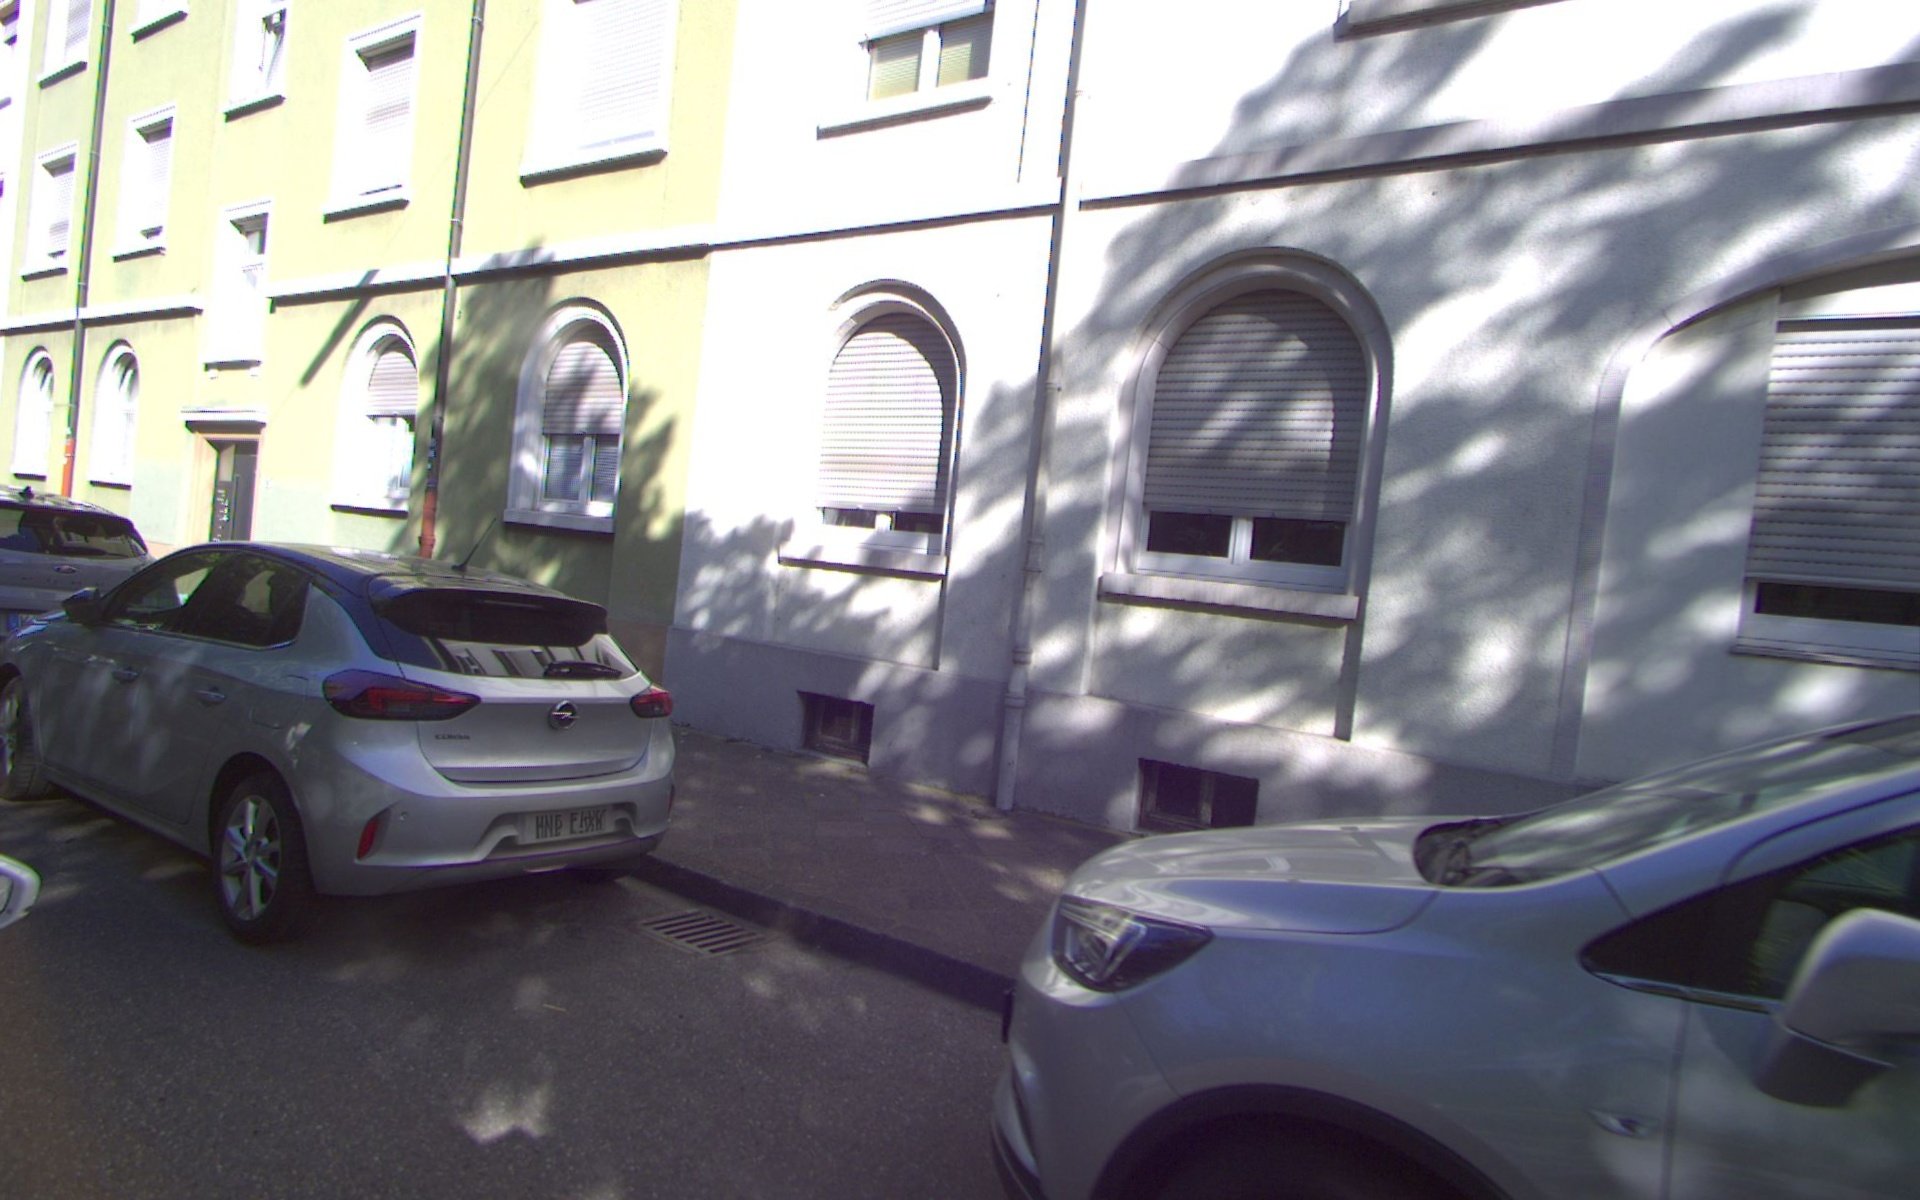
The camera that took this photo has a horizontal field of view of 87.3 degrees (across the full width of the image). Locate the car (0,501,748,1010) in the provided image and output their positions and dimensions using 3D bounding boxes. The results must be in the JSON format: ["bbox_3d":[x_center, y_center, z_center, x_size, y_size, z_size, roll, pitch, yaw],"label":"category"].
[{"bbox_3d":[-3.224,0.431,4.974,4.089,1.450,1.724,7,0,31],"label":"car"}]

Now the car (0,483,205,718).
[{"bbox_3d":[-7.953,-0.180,7.852,4.087,1.547,1.725,7,0,30],"label":"car"}]

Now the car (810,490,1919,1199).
[{"bbox_3d":[1.942,0.892,1.778,4.087,1.707,1.725,7,0,29],"label":"car"}]
